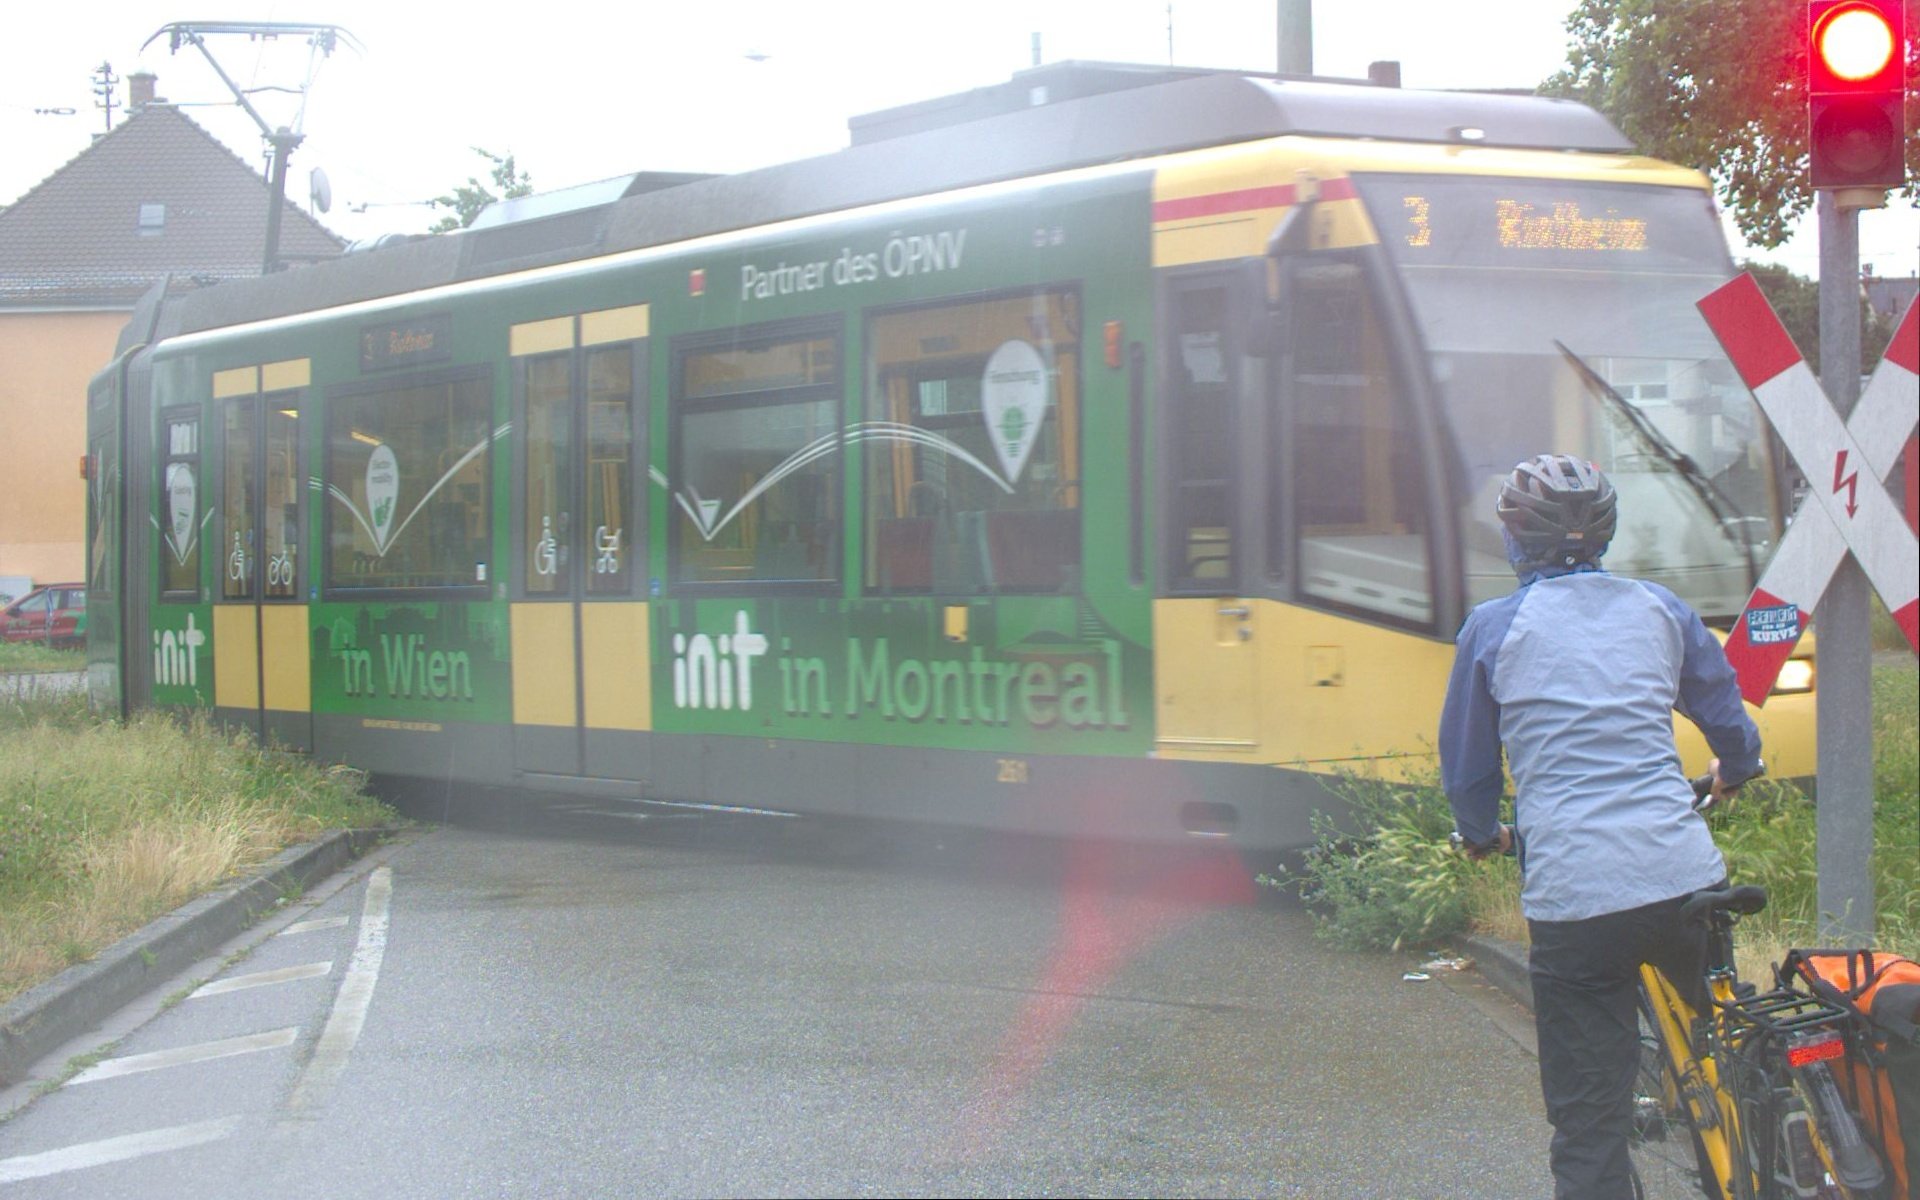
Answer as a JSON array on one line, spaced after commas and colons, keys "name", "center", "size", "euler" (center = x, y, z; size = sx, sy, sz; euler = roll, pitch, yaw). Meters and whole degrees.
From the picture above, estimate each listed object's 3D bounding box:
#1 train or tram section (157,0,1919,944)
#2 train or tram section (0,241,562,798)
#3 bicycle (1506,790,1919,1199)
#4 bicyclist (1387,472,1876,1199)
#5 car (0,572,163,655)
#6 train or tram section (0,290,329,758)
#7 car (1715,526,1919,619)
[{"name": "train or tram section", "center": [-0.602, -0.589, 17.665], "size": [2.761, 3.541, 12.203], "euler": [-2, 1, -33]}, {"name": "train or tram section", "center": [-5.216, -0.564, 24.716], "size": [2.761, 3.541, 4.988], "euler": [-2, 1, -32]}, {"name": "bicycle", "center": [1.352, 0.907, 6.064], "size": [0.446, 1.001, 1.728], "euler": [-1, 1, -2]}, {"name": "bicyclist", "center": [1.169, 0.598, 6.149], "size": [0.667, 1.620, 0.853], "euler": [1, 0, -2]}, {"name": "car", "center": [-16.670, 0.222, 62.588], "size": [3.986, 1.451, 1.834], "euler": [1, 0, -6]}, {"name": "train or tram section", "center": [-7.544, -0.620, 32.768], "size": [2.760, 3.541, 13.136], "euler": [-1, 0, -11]}, {"name": "car", "center": [16.351, -0.518, 65.101], "size": [3.684, 1.695, 1.890], "euler": [1, 0, 0]}]
